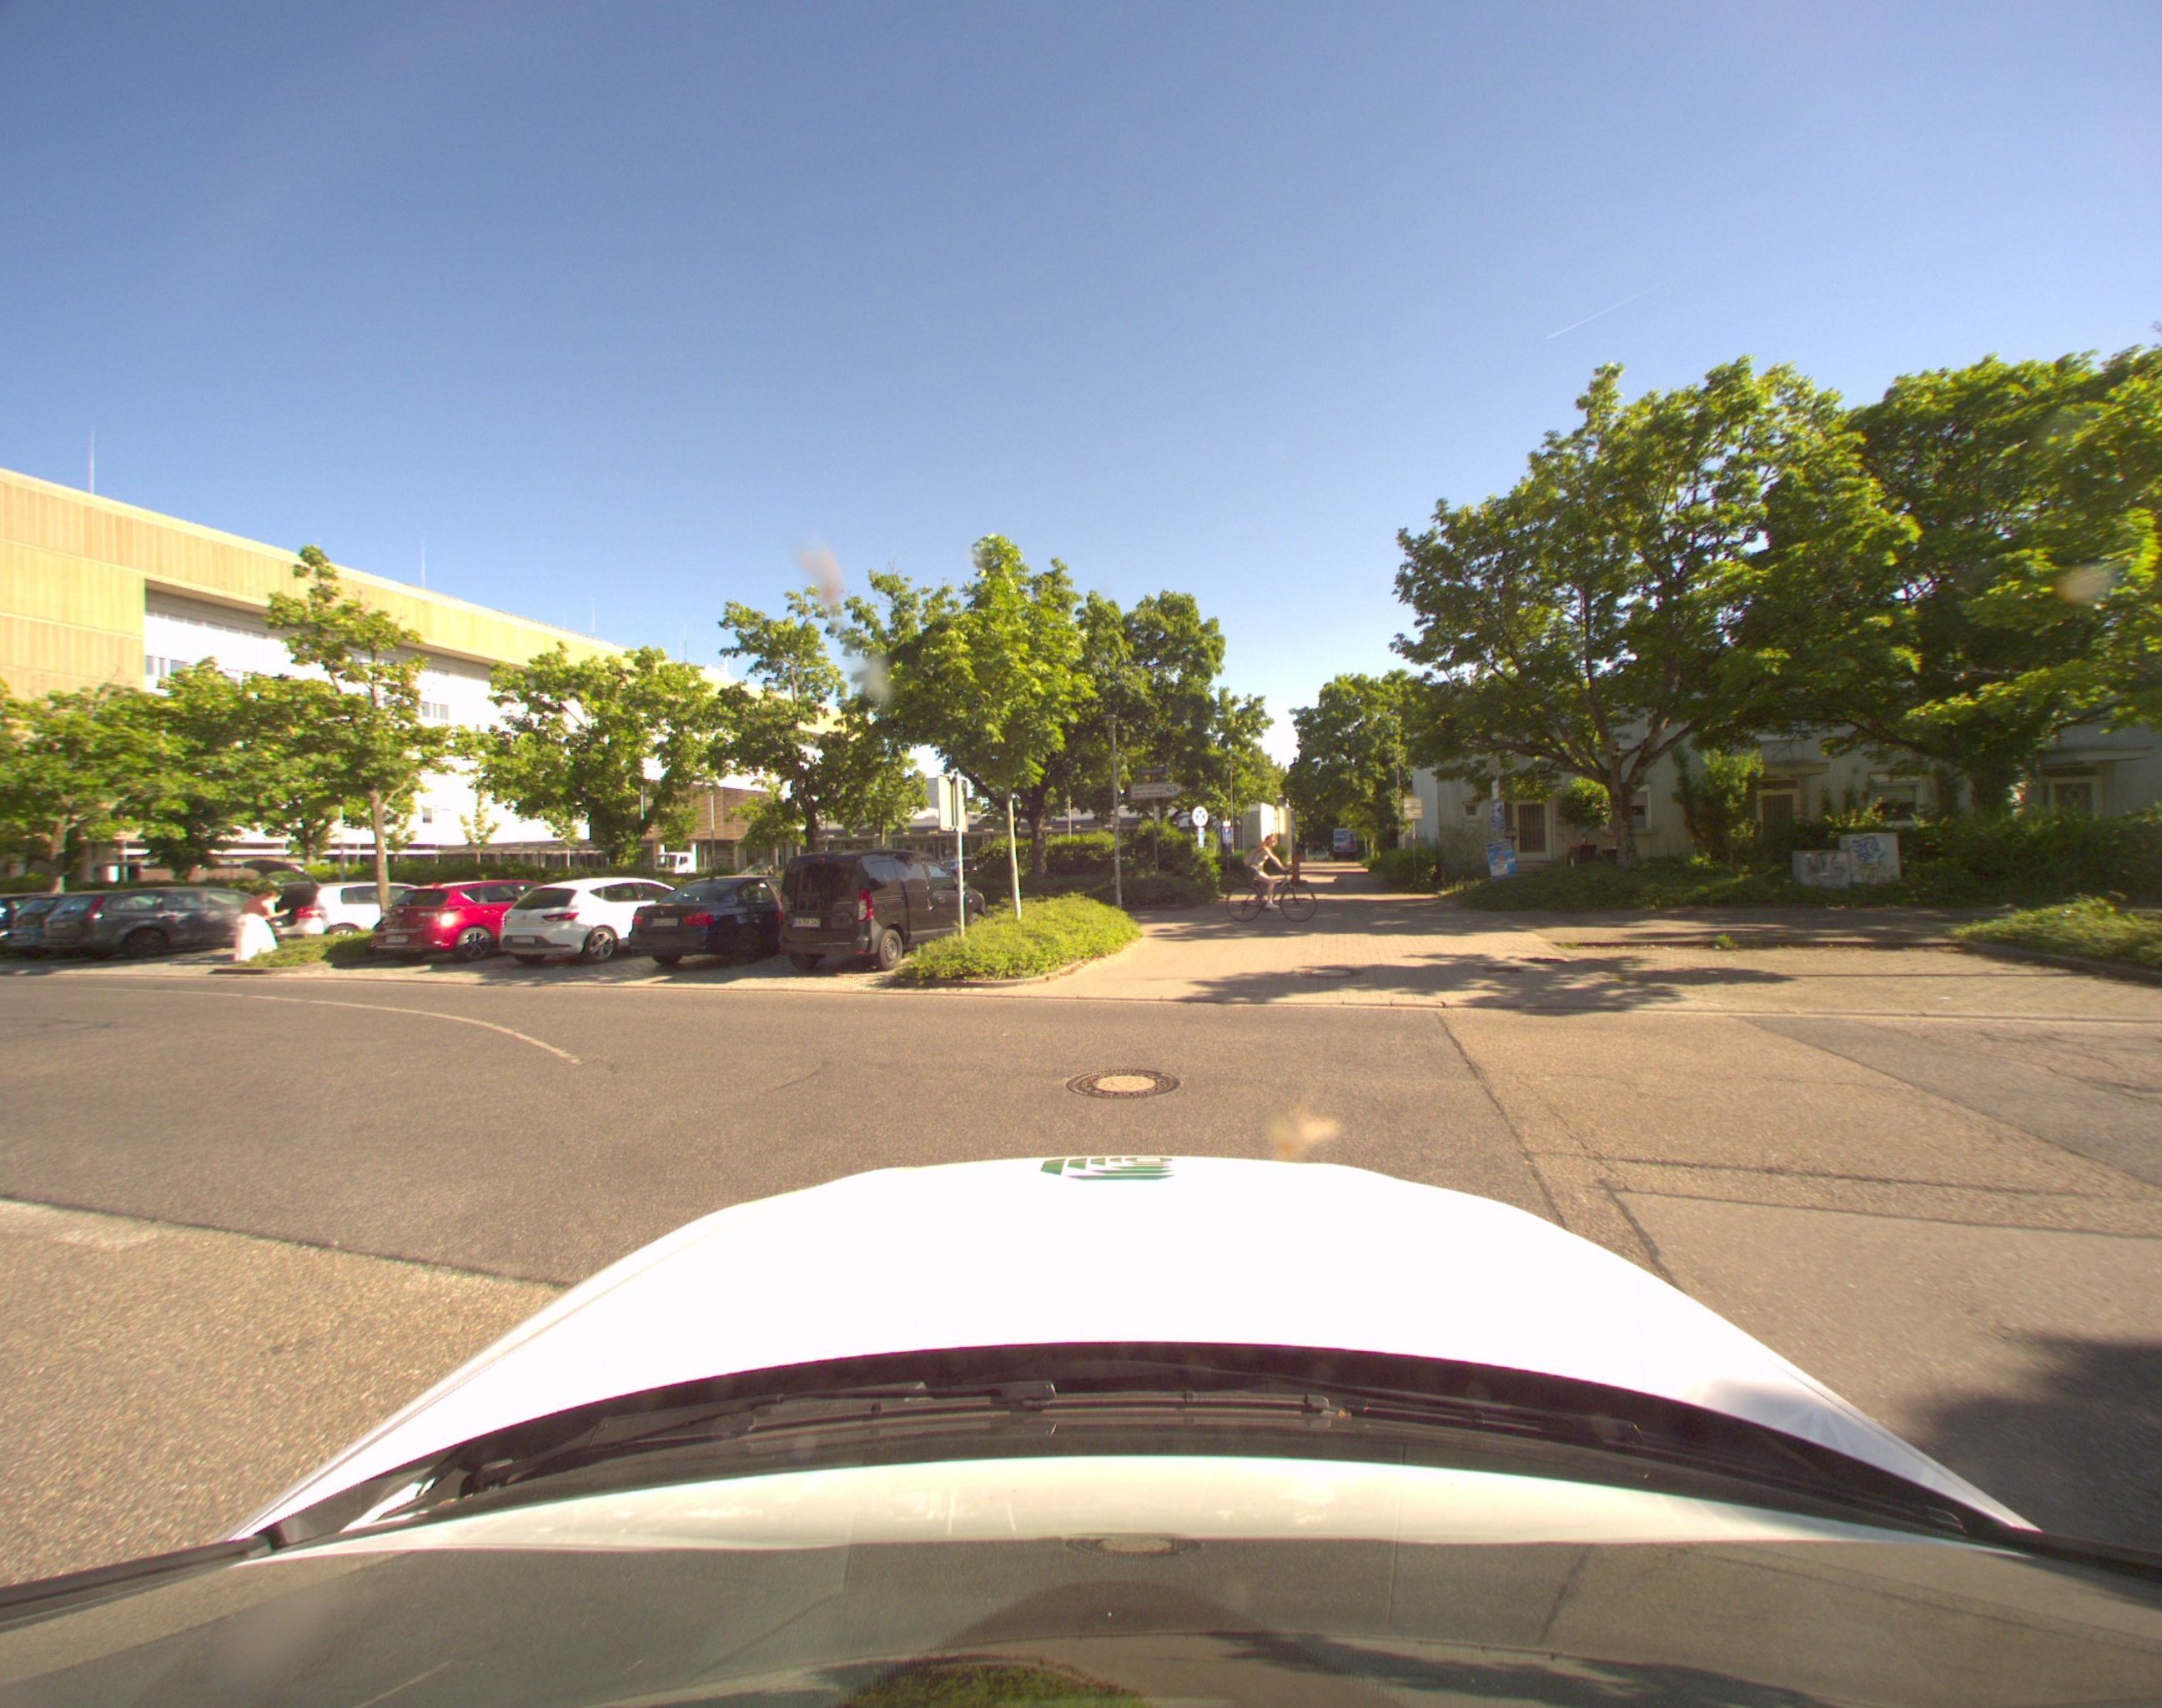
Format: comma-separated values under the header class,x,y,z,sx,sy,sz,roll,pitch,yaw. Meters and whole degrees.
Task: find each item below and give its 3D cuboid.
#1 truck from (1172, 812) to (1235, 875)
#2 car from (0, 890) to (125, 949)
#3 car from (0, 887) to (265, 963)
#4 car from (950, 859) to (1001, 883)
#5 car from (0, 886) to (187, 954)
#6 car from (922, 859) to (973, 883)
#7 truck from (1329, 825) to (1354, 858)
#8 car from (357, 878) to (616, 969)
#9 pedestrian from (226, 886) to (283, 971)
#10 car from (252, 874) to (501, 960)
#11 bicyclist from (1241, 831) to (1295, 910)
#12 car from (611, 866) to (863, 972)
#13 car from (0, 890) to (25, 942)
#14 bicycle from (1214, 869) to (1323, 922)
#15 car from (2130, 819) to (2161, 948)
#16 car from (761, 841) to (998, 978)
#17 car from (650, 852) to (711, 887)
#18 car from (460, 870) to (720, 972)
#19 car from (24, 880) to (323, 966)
class,x,y,z,sx,sy,sz,roll,pitch,yaw
truck,8.164,-0.673,53.415,2.779,3.806,6.959,-1,0,20
car,-29.233,1.808,22.130,1.821,1.416,3.763,-2,0,19
car,-22.799,1.623,19.751,1.604,1.468,3.929,-1,0,16
car,-7.283,1.161,56.577,1.821,1.497,3.927,-2,0,20
car,-26.789,1.702,21.450,1.821,1.497,3.927,-2,0,19
car,-9.321,1.180,57.111,1.821,1.497,3.927,-2,0,20
truck,32.638,-1.555,101.965,2.738,3.869,9.374,-1,0,18
car,-11.551,1.268,16.185,1.654,1.426,3.929,-1,0,16
pedestrian,-16.316,1.449,16.091,0.771,1.579,0.665,0,0,-44
car,-15.598,1.305,18.330,1.661,1.578,3.929,-1,0,16
bicyclist,3.734,0.321,16.240,1.004,1.523,0.598,-1,0,15
car,-5.834,1.027,14.455,1.809,1.406,4.187,-2,1,16
car,-32.773,1.910,22.779,1.728,1.489,3.479,-3,1,16
bicycle,3.742,0.815,16.239,2.066,0.995,0.599,-1,0,15
car,13.860,0.391,8.271,1.809,1.598,4.186,-2,1,16
car,-3.136,0.781,13.680,1.859,1.846,4.188,-2,1,18
car,-30.955,1.171,63.101,2.207,2.491,3.664,-2,0,20
car,-8.903,1.134,15.200,1.789,1.436,3.929,-1,1,16
car,-20.577,1.488,18.768,1.718,1.519,4.218,-2,1,16
